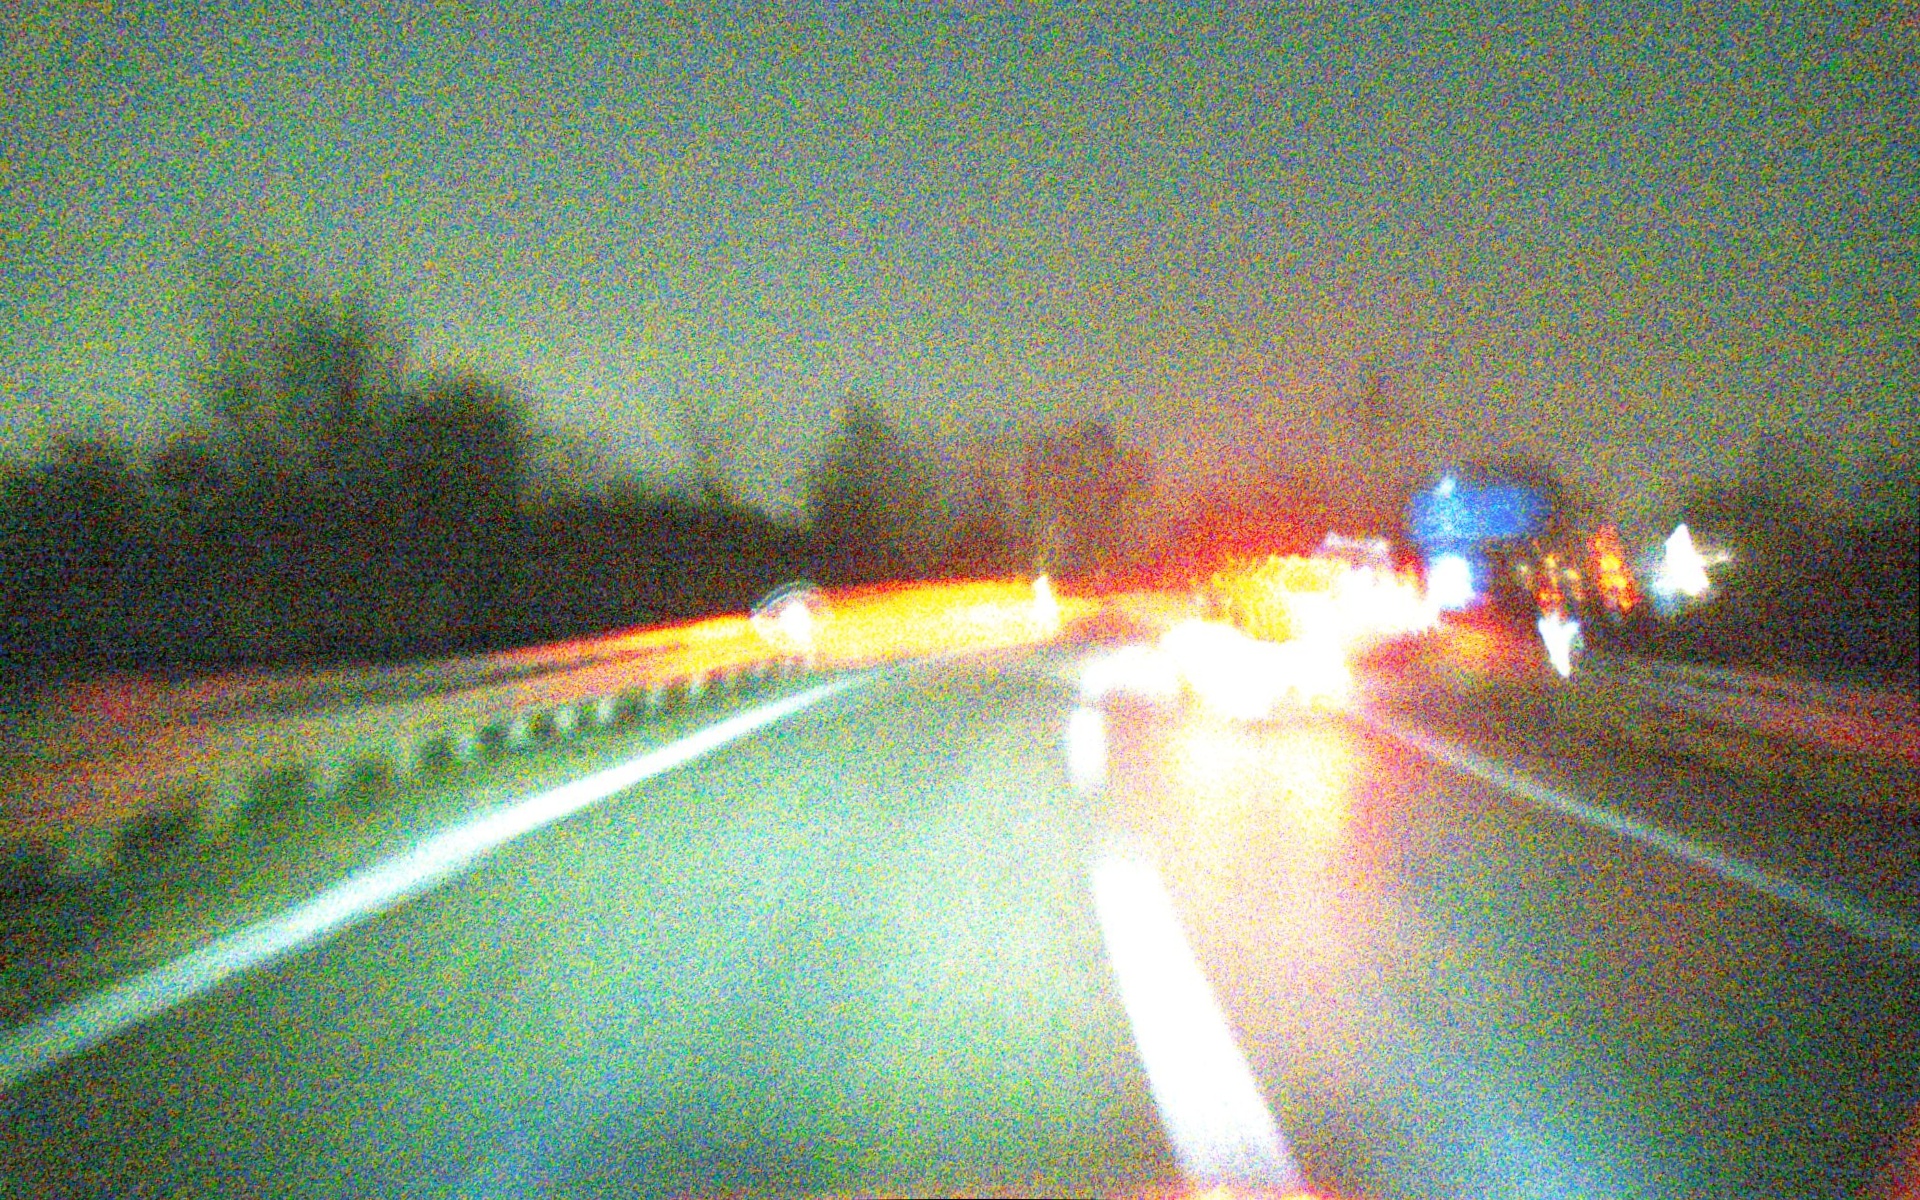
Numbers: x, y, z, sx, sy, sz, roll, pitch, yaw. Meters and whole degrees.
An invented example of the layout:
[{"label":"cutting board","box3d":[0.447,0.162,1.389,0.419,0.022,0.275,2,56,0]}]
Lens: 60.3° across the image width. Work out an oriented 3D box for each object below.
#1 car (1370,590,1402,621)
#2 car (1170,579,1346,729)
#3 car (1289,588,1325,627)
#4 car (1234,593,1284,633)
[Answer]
[{"label":"car","box3d":[28.219,0.356,109.602,1.855,2.033,4.048,0,0,17]},{"label":"car","box3d":[3.683,0.608,21.052,1.821,1.676,4.071,2,0,5]},{"label":"car","box3d":[19.154,0.434,91.213,1.855,2.076,4.049,1,0,13]},{"label":"car","box3d":[13.682,0.600,75.627,1.855,1.750,4.048,1,0,16]}]
